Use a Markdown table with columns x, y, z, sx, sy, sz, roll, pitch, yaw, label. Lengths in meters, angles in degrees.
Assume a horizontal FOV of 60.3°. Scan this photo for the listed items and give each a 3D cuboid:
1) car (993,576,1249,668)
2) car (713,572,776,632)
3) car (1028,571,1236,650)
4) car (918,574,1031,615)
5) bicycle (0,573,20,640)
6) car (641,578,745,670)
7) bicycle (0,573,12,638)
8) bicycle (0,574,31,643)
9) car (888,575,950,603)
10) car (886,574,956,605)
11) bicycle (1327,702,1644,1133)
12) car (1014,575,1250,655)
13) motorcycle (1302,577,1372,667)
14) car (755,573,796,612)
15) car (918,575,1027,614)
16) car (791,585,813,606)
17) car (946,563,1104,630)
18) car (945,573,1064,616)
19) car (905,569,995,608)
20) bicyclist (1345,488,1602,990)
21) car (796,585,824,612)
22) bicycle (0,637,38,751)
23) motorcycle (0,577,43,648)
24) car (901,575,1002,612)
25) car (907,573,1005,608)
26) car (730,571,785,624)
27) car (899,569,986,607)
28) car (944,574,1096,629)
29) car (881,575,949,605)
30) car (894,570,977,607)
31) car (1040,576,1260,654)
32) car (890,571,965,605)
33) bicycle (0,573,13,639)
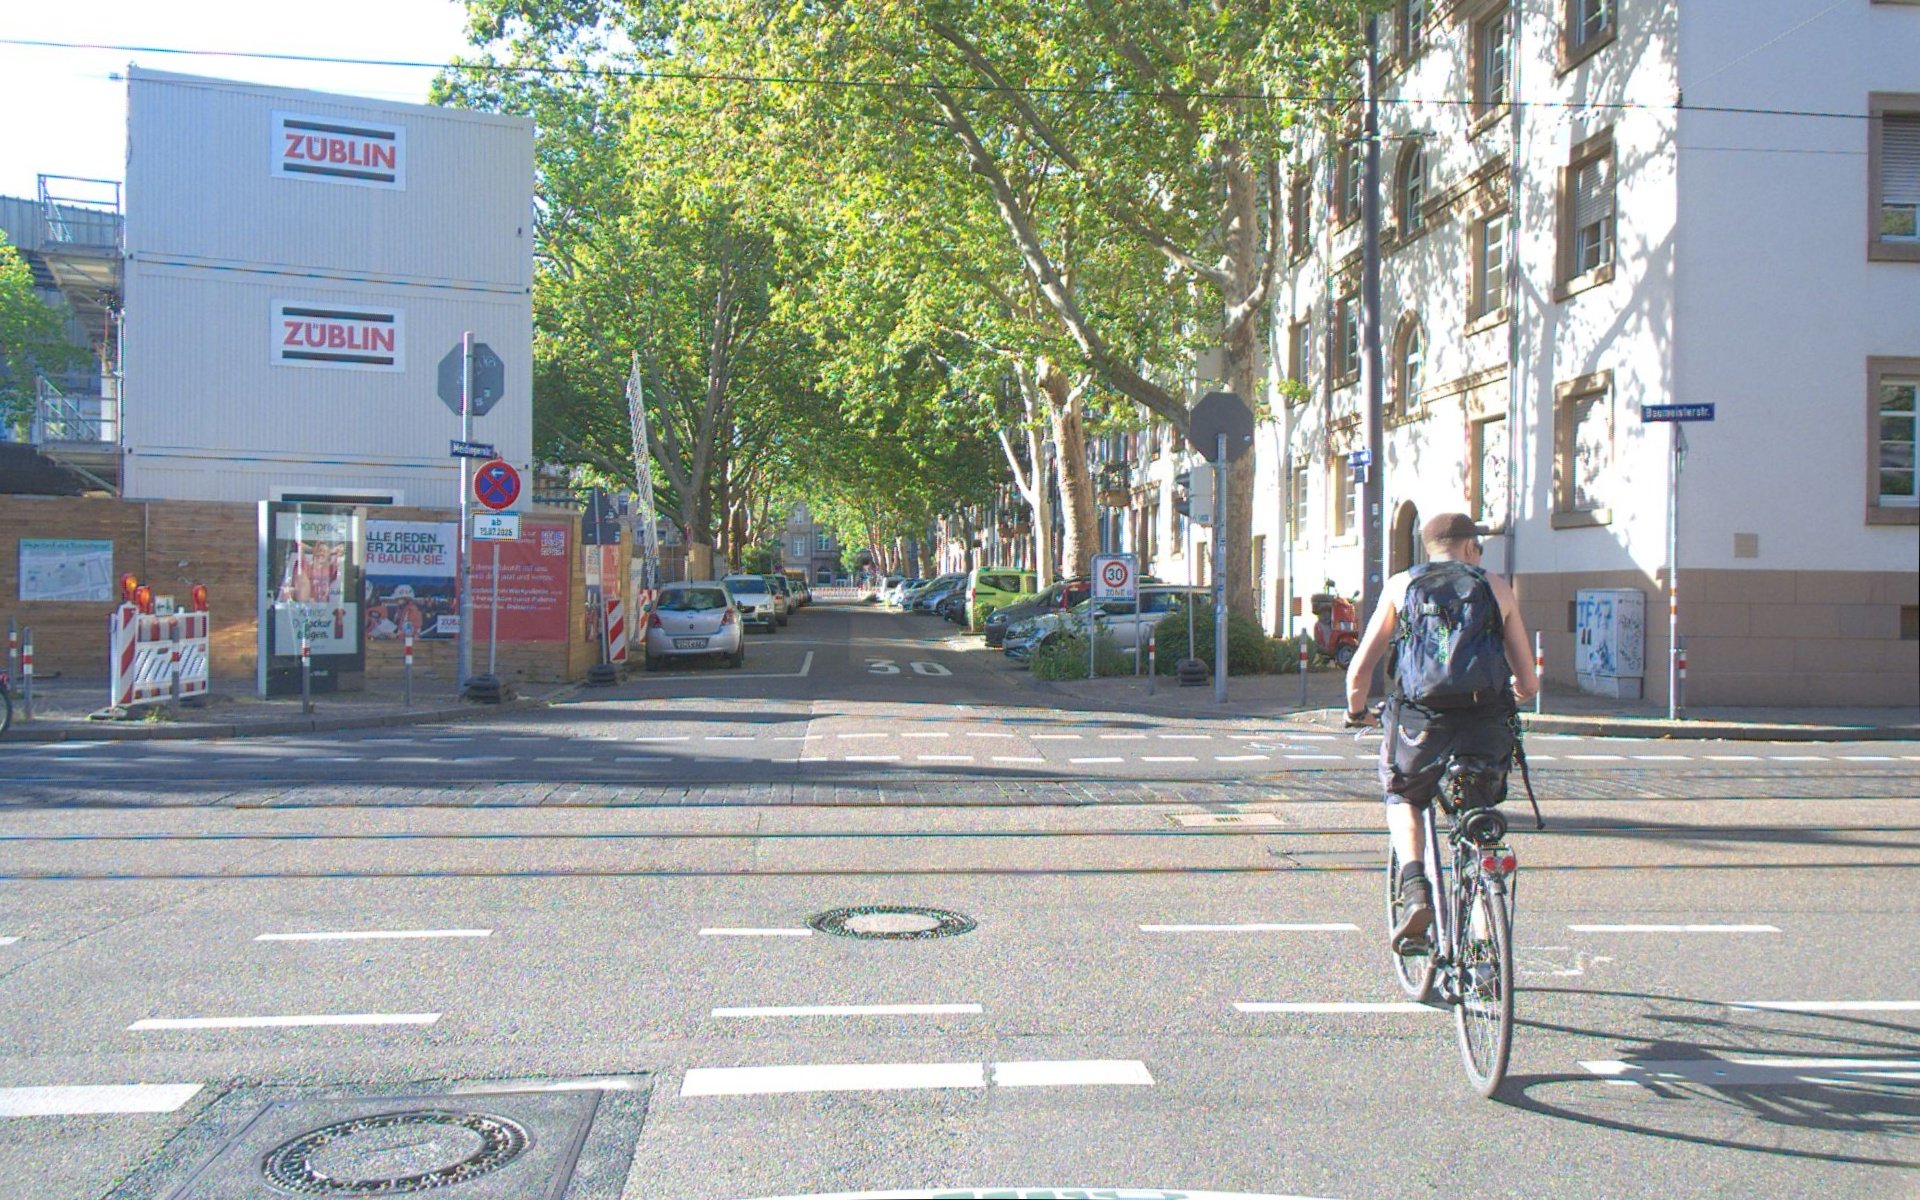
| x | y | z | sx | sy | sz | roll | pitch | yaw | label |
| --- | --- | --- | --- | --- | --- | --- | --- | --- | --- |
| 2.867 | 0.385 | 29.989 | 4.375 | 1.598 | 1.726 | 0 | 1 | -6 | car |
| -5.984 | 0.034 | 46.205 | 1.633 | 1.590 | 3.995 | 0 | 1 | -6 | car |
| 3.798 | 0.215 | 37.000 | 4.375 | 1.700 | 1.726 | 0 | 1 | -6 | car |
| 0.565 | -0.228 | 66.423 | 4.375 | 1.598 | 1.726 | 0 | 1 | -6 | car |
| -19.141 | 0.123 | 31.563 | 2.033 | 1.279 | 0.464 | -1 | 2 | -43 | bicycle |
| -4.809 | 0.384 | 30.221 | 1.612 | 1.520 | 3.995 | -2 | 1 | -6 | car |
| -19.774 | 0.109 | 32.401 | 2.033 | 1.279 | 0.535 | -1 | 2 | -43 | bicycle |
| -18.504 | 0.166 | 30.835 | 2.033 | 1.279 | 0.464 | -1 | 2 | -43 | bicycle |
| -2.946 | -0.794 | 118.194 | 4.375 | 1.931 | 1.726 | 0 | 1 | -6 | car |
| -2.508 | -0.672 | 106.166 | 4.375 | 1.931 | 1.726 | 0 | 1 | -6 | car |
| 1.664 | 0.934 | 5.539 | 0.675 | 1.034 | 1.909 | 2 | 0 | 8 | bicycle |
| 3.333 | 0.282 | 32.492 | 4.375 | 1.526 | 1.726 | 0 | 1 | -6 | car |
| 5.927 | 0.329 | 26.084 | 0.504 | 1.356 | 1.761 | 0 | 1 | -7 | motorcycle |
| -7.651 | -0.329 | 68.587 | 1.633 | 1.590 | 4.610 | 0 | 1 | -6 | car |
| 0.500 | -0.238 | 68.899 | 4.375 | 1.598 | 1.726 | 0 | 1 | -6 | car |
| -12.334 | -0.331 | 129.060 | 1.633 | 1.590 | 4.214 | 0 | 1 | -6 | car |
| 1.850 | -0.107 | 47.921 | 4.376 | 1.868 | 1.726 | 0 | 1 | -6 | car |
| 1.663 | -0.210 | 63.304 | 4.375 | 1.598 | 1.726 | 0 | 1 | -6 | car |
| -0.522 | -0.569 | 83.257 | 4.375 | 1.931 | 1.726 | 0 | 1 | -6 | car |
| 1.678 | 0.428 | 5.498 | 0.662 | 1.539 | 0.669 | 2 | 0 | 7 | bicyclist |
| -8.980 | -0.108 | 98.744 | 1.633 | 1.590 | 4.214 | 0 | 1 | -6 | car |
| -9.749 | 0.885 | 15.465 | 1.889 | 1.036 | 0.678 | 0 | 1 | -23 | bicycle |
| -17.890 | 0.233 | 29.939 | 2.193 | 1.279 | 0.535 | -1 | 2 | -43 | motorcycle |
| -0.408 | -0.277 | 73.602 | 4.375 | 1.598 | 1.726 | 0 | 1 | -6 | car |
| -0.215 | -0.439 | 75.944 | 4.375 | 1.598 | 1.726 | 0 | 1 | -6 | car |
| -6.320 | -0.110 | 51.897 | 1.633 | 1.590 | 4.513 | 0 | 1 | -6 | car |
| -0.913 | -0.613 | 85.999 | 4.375 | 1.931 | 1.726 | 0 | 1 | -6 | car |
| 1.782 | 0.035 | 49.938 | 4.375 | 1.598 | 1.726 | 0 | 1 | -6 | car |
| -2.983 | -0.663 | 109.181 | 4.375 | 1.931 | 1.726 | 0 | 1 | -6 | car |
| -1.327 | -0.640 | 88.842 | 4.375 | 1.931 | 1.726 | 0 | 1 | -6 | car |
| 3.969 | 0.304 | 34.922 | 4.375 | 1.598 | 1.726 | 0 | 1 | -6 | car |
| -1.976 | -0.719 | 98.759 | 4.375 | 1.931 | 1.726 | 0 | 1 | -6 | car |
| -19.475 | 0.115 | 31.941 | 2.033 | 1.279 | 0.464 | -1 | 2 | -43 | bicycle |
